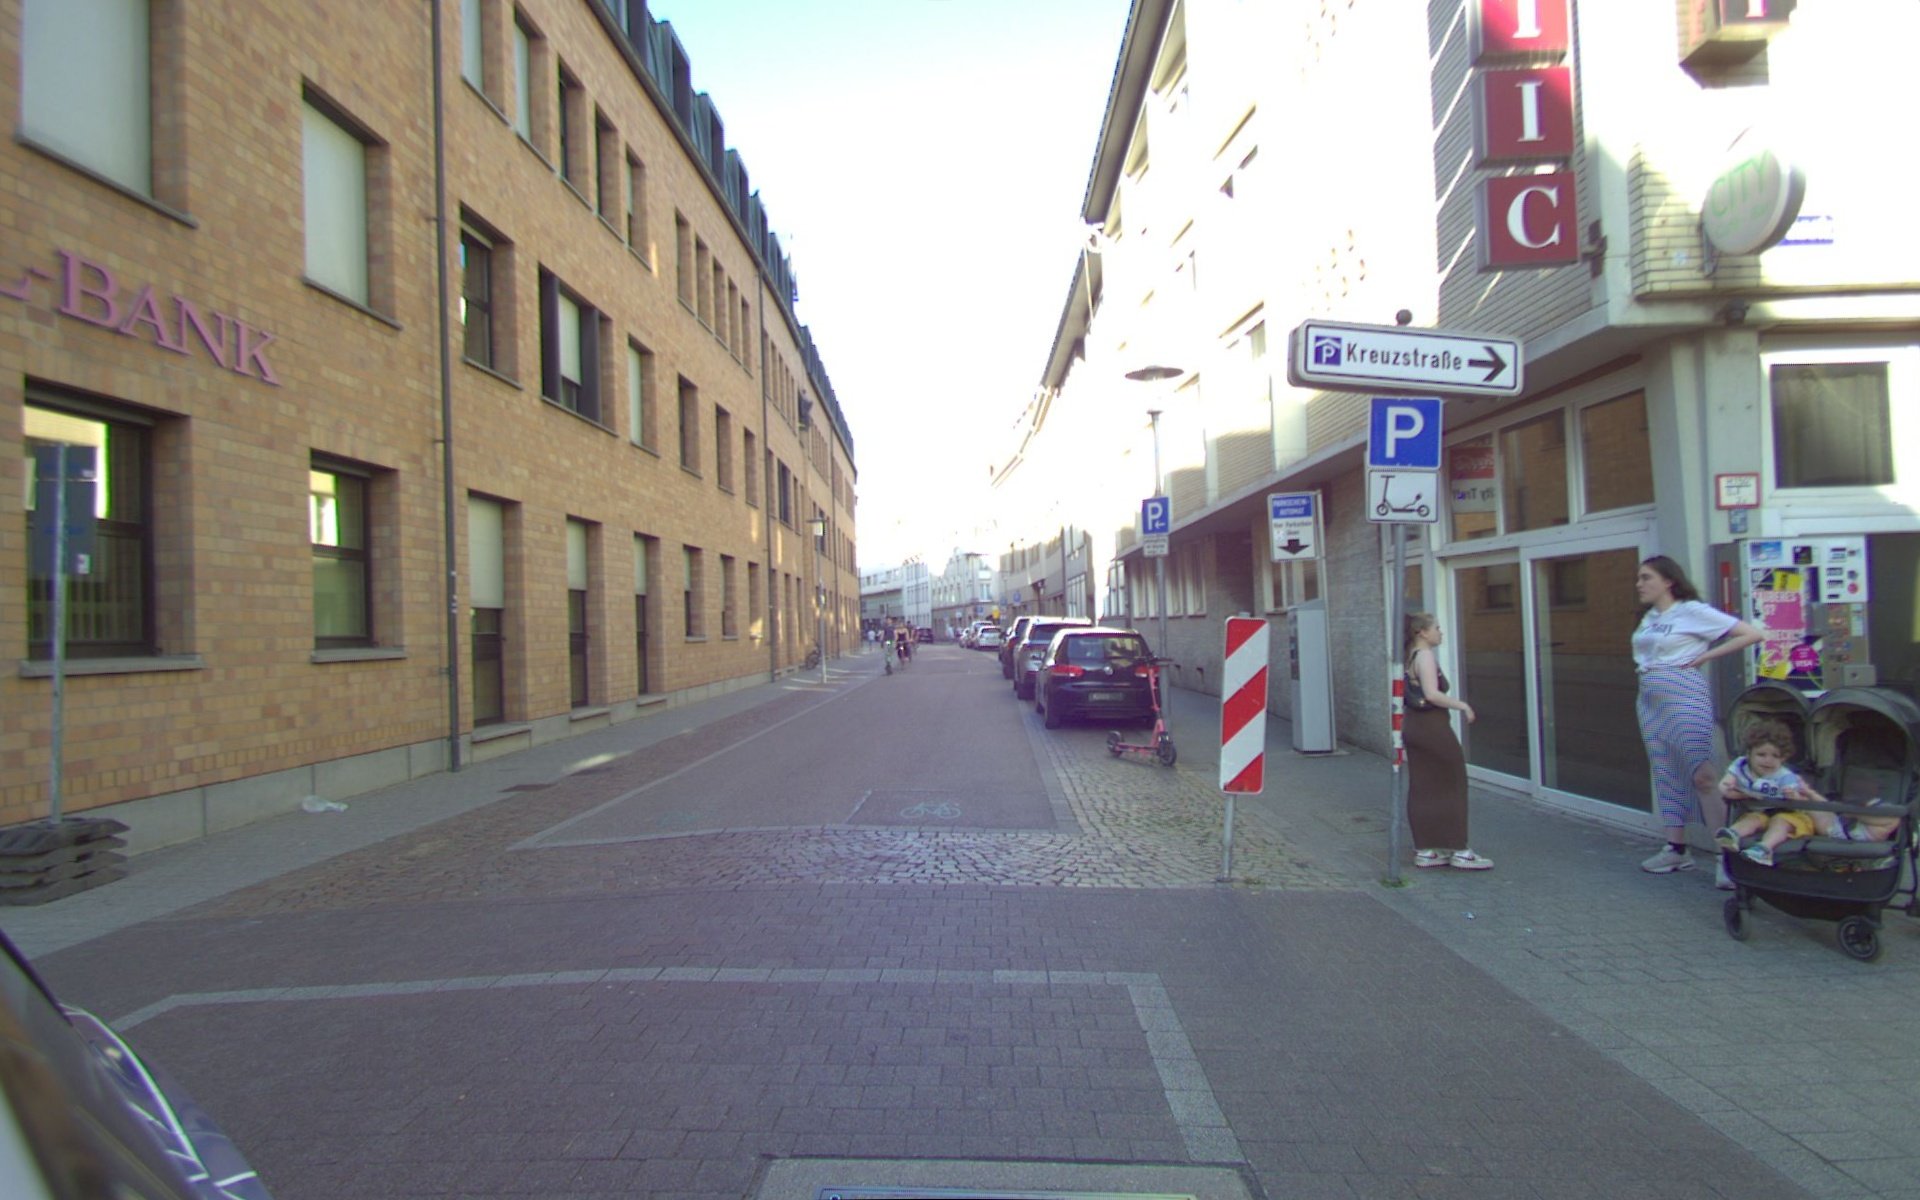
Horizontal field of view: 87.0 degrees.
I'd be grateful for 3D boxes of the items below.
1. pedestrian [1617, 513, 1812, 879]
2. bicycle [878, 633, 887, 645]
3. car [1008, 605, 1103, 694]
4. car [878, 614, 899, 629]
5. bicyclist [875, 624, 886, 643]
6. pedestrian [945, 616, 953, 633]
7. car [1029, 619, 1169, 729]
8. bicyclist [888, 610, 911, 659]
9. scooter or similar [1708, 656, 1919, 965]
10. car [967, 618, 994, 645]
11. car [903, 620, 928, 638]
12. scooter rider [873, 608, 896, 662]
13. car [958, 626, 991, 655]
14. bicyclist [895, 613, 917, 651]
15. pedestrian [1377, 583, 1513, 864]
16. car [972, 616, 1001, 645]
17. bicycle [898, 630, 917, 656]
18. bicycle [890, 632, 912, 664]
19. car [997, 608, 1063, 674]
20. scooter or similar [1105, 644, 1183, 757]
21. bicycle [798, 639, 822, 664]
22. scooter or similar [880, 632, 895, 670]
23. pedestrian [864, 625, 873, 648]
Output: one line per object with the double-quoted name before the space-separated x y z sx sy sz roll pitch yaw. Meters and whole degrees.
"pedestrian" 4.095 0.492 5.500 0.659 1.833 0.563 -6 -2 42
"bicycle" -7.364 3.671 96.128 0.694 1.112 1.831 -2 -2 -9
"car" 1.891 0.979 21.115 1.651 1.674 4.079 0 -1 1
"car" -8.495 2.528 120.309 1.904 1.663 3.846 -1 -1 -12
"bicyclist" -7.541 3.186 96.126 0.761 1.668 0.959 -5 -1 -10
"pedestrian" -0.994 2.186 90.661 0.563 1.490 0.474 -2 -1 -6
"car" 2.030 1.071 15.779 1.717 1.497 3.809 0 -2 1
"bicyclist" -2.169 1.233 36.323 0.612 1.679 0.823 -5 -1 2
"scooter or similar" 3.928 0.859 4.498 0.799 1.152 0.940 -3 -1 44
"car" 1.338 2.100 67.961 1.670 1.789 3.656 0 -1 -1
"car" -4.621 2.968 104.077 1.904 1.663 3.846 -2 -1 -12
"scooter rider" -2.468 1.146 33.101 0.640 1.739 0.702 -2 -2 0
"car" 1.026 2.941 74.277 1.969 2.029 4.005 0 -1 -6
"bicyclist" -2.321 1.368 43.612 0.641 1.570 1.108 -5 -1 4
"pedestrian" 2.942 0.717 6.134 0.510 1.591 0.527 -6 -2 38
"car" 1.591 1.850 61.966 1.670 1.692 3.508 0 -1 -1
"bicycle" -2.260 1.840 43.660 0.566 1.059 1.834 -2 -2 4
"bicycle" -2.125 1.724 36.434 0.583 1.059 1.800 -4 -1 1
"car" 1.894 1.112 28.383 1.651 1.717 4.011 0 -1 1
"scooter or similar" 2.020 1.085 11.184 0.205 1.192 0.884 -1 -2 -38
"bicycle" -5.750 1.967 38.891 0.634 0.888 2.557 -1 -1 -2
"scooter or similar" -2.361 1.660 32.960 0.332 1.195 1.279 -4 -2 0
"pedestrian" -6.489 2.589 71.730 0.536 1.556 0.405 -1 -1 0
